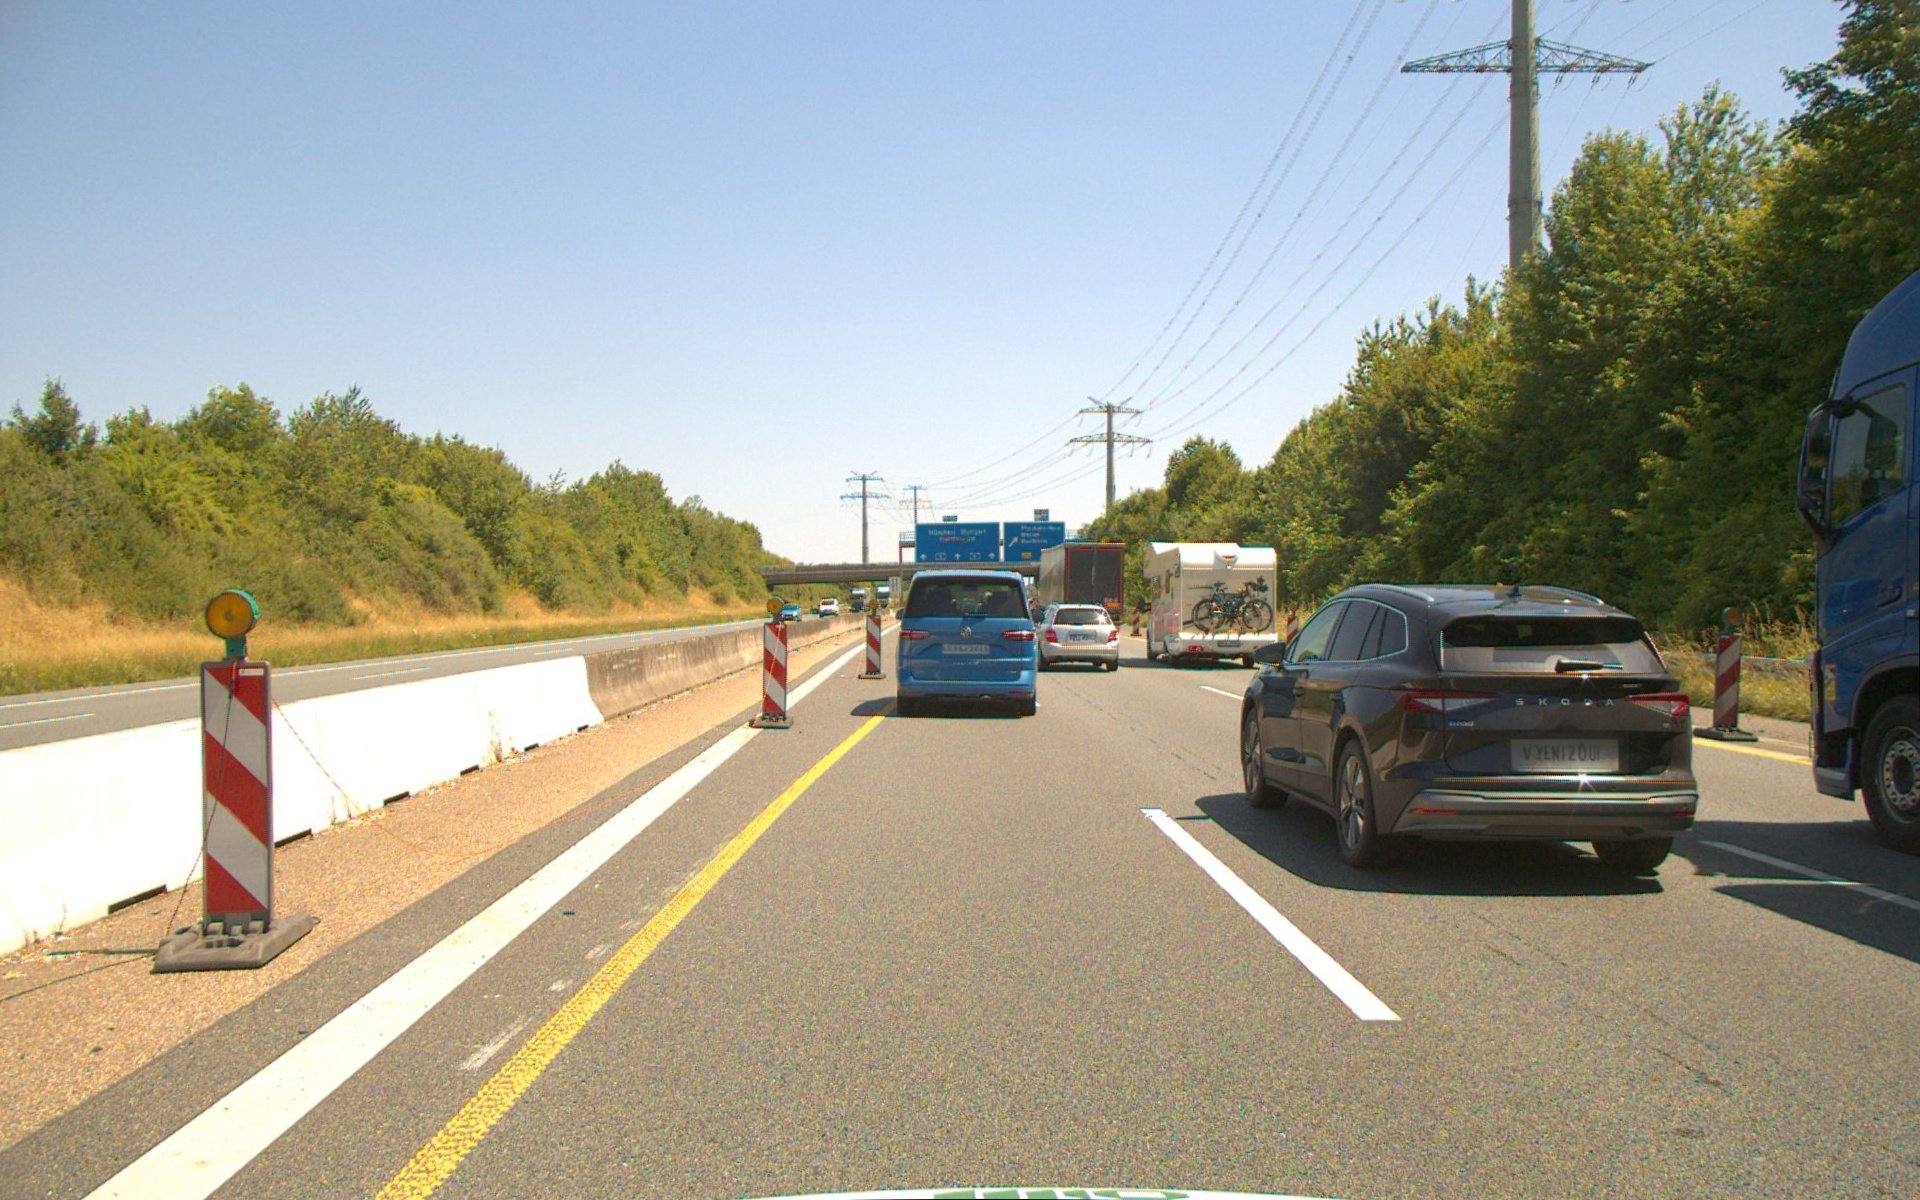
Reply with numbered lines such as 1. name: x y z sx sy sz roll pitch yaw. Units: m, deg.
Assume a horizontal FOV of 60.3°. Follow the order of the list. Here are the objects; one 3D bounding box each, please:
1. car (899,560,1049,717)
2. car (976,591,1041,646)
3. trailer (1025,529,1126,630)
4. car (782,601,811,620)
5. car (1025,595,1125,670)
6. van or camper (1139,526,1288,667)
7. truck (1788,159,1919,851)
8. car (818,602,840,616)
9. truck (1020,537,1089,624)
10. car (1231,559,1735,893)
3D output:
1. car: 0.099 0.493 23.126 1.837 1.945 4.357 1 0 -3
2. car: 1.576 0.600 55.094 1.837 1.700 4.357 1 0 -3
3. trailer: 5.050 -0.848 74.996 2.728 4.118 13.100 1 0 -4
4. car: -13.365 0.852 135.329 1.953 1.422 4.000 -2 0 0
5. car: 2.521 0.694 37.200 1.735 1.544 4.357 1 0 -2
6. van or camper: 6.090 -0.069 40.815 2.321 3.097 7.630 1 0 -1
7. truck: 7.233 -0.568 8.763 2.729 4.217 5.635 1 0 -1
8. car: -14.044 0.943 177.257 1.953 1.422 4.000 -2 0 0
9. truck: 4.620 -0.917 81.981 2.679 4.118 5.789 1 0 -4
10. car: 3.053 0.656 10.690 1.667 1.684 4.427 1 0 -3
